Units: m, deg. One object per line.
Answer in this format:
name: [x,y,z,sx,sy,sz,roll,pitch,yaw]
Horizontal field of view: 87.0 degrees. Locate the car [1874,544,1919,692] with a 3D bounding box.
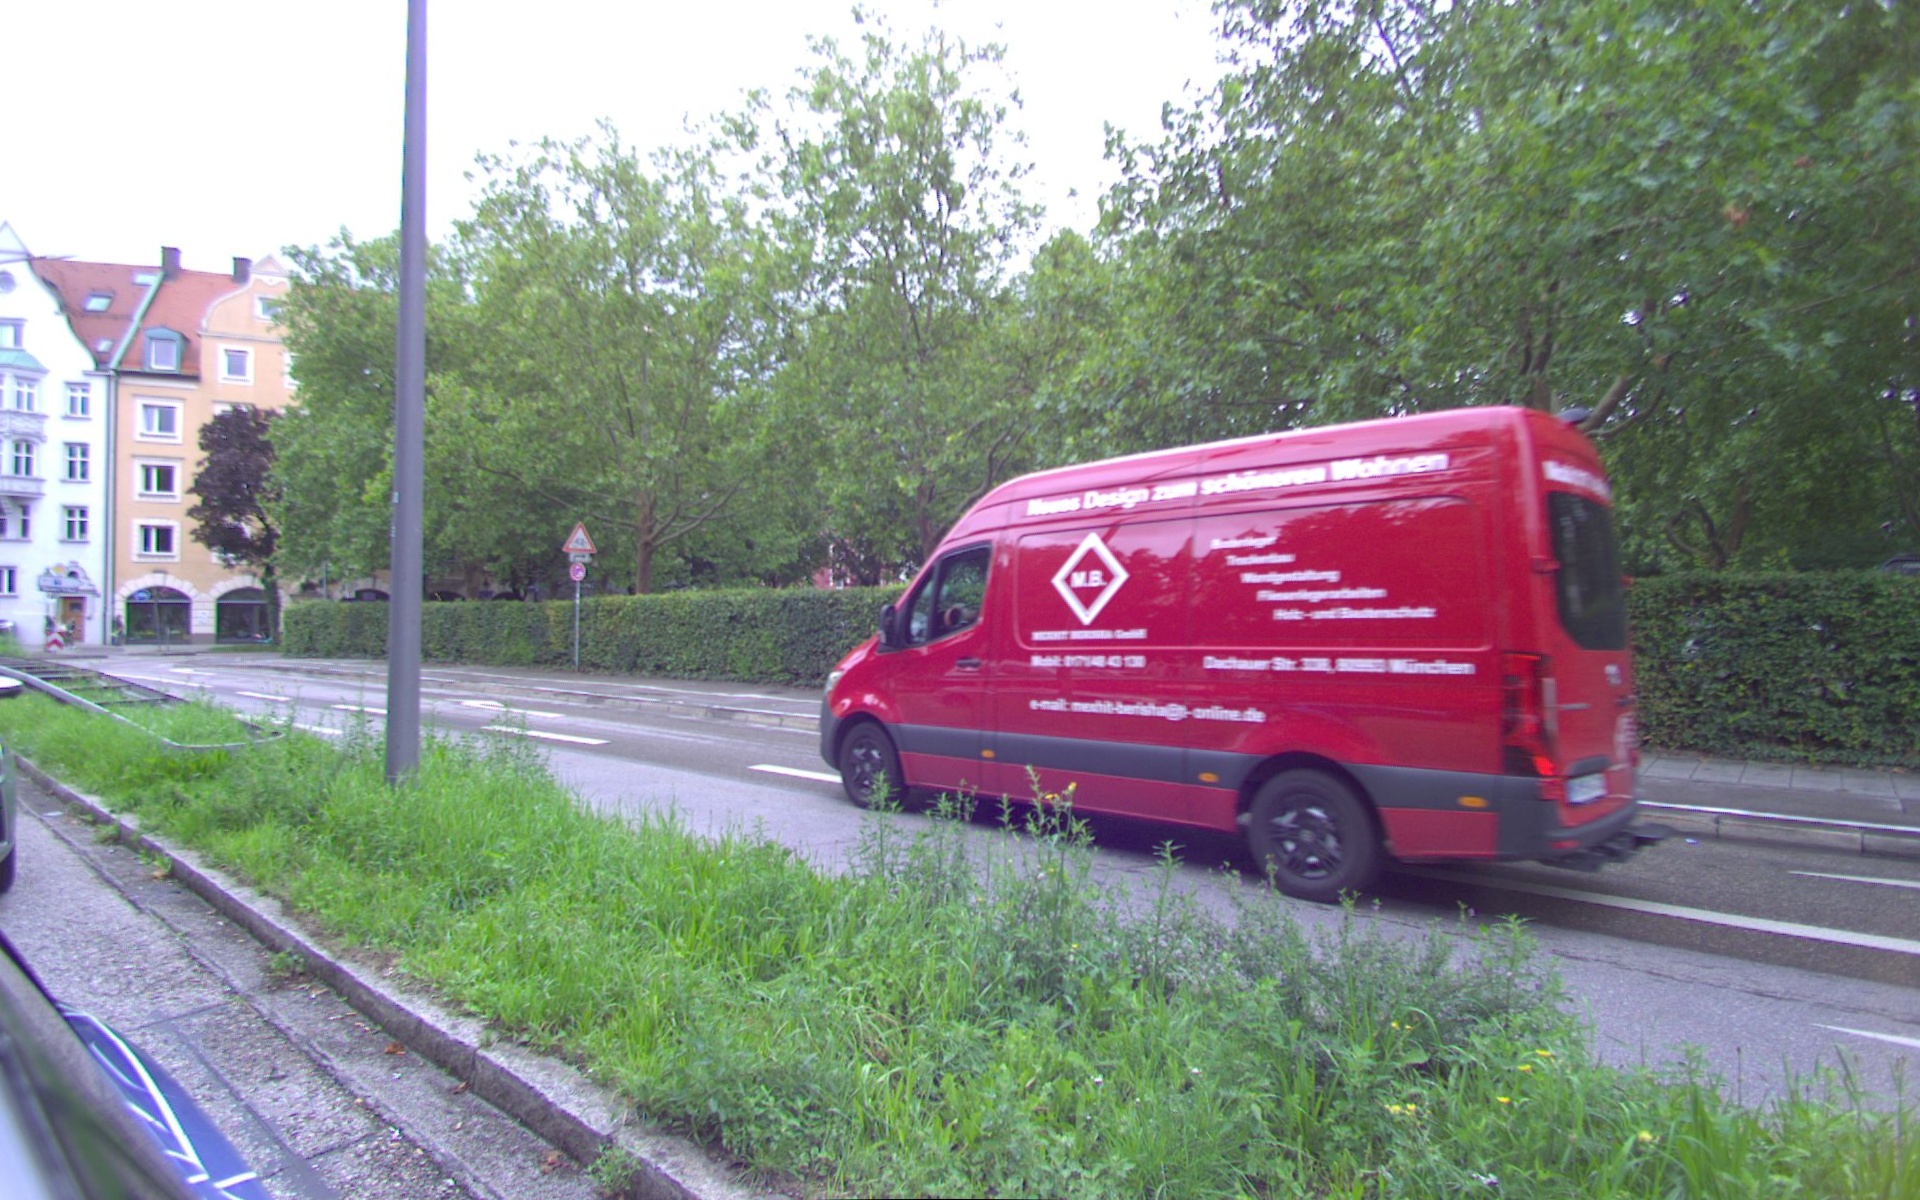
car: [18.931,0.284,19.351,2.000,2.554,5.779,-1,0,44]

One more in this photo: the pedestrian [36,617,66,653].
pedestrian: [-51.161,1.958,56.961,0.991,2.029,0.881,-1,0,-18]

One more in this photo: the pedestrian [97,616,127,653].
pedestrian: [-47.862,1.924,57.127,0.991,2.029,0.881,-1,0,-18]

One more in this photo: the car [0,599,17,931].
car: [-6.464,0.786,5.360,3.884,1.542,1.688,-1,-2,40]

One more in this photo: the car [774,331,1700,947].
car: [1.288,0.301,7.188,2.079,2.609,6.084,2,-4,-45]
